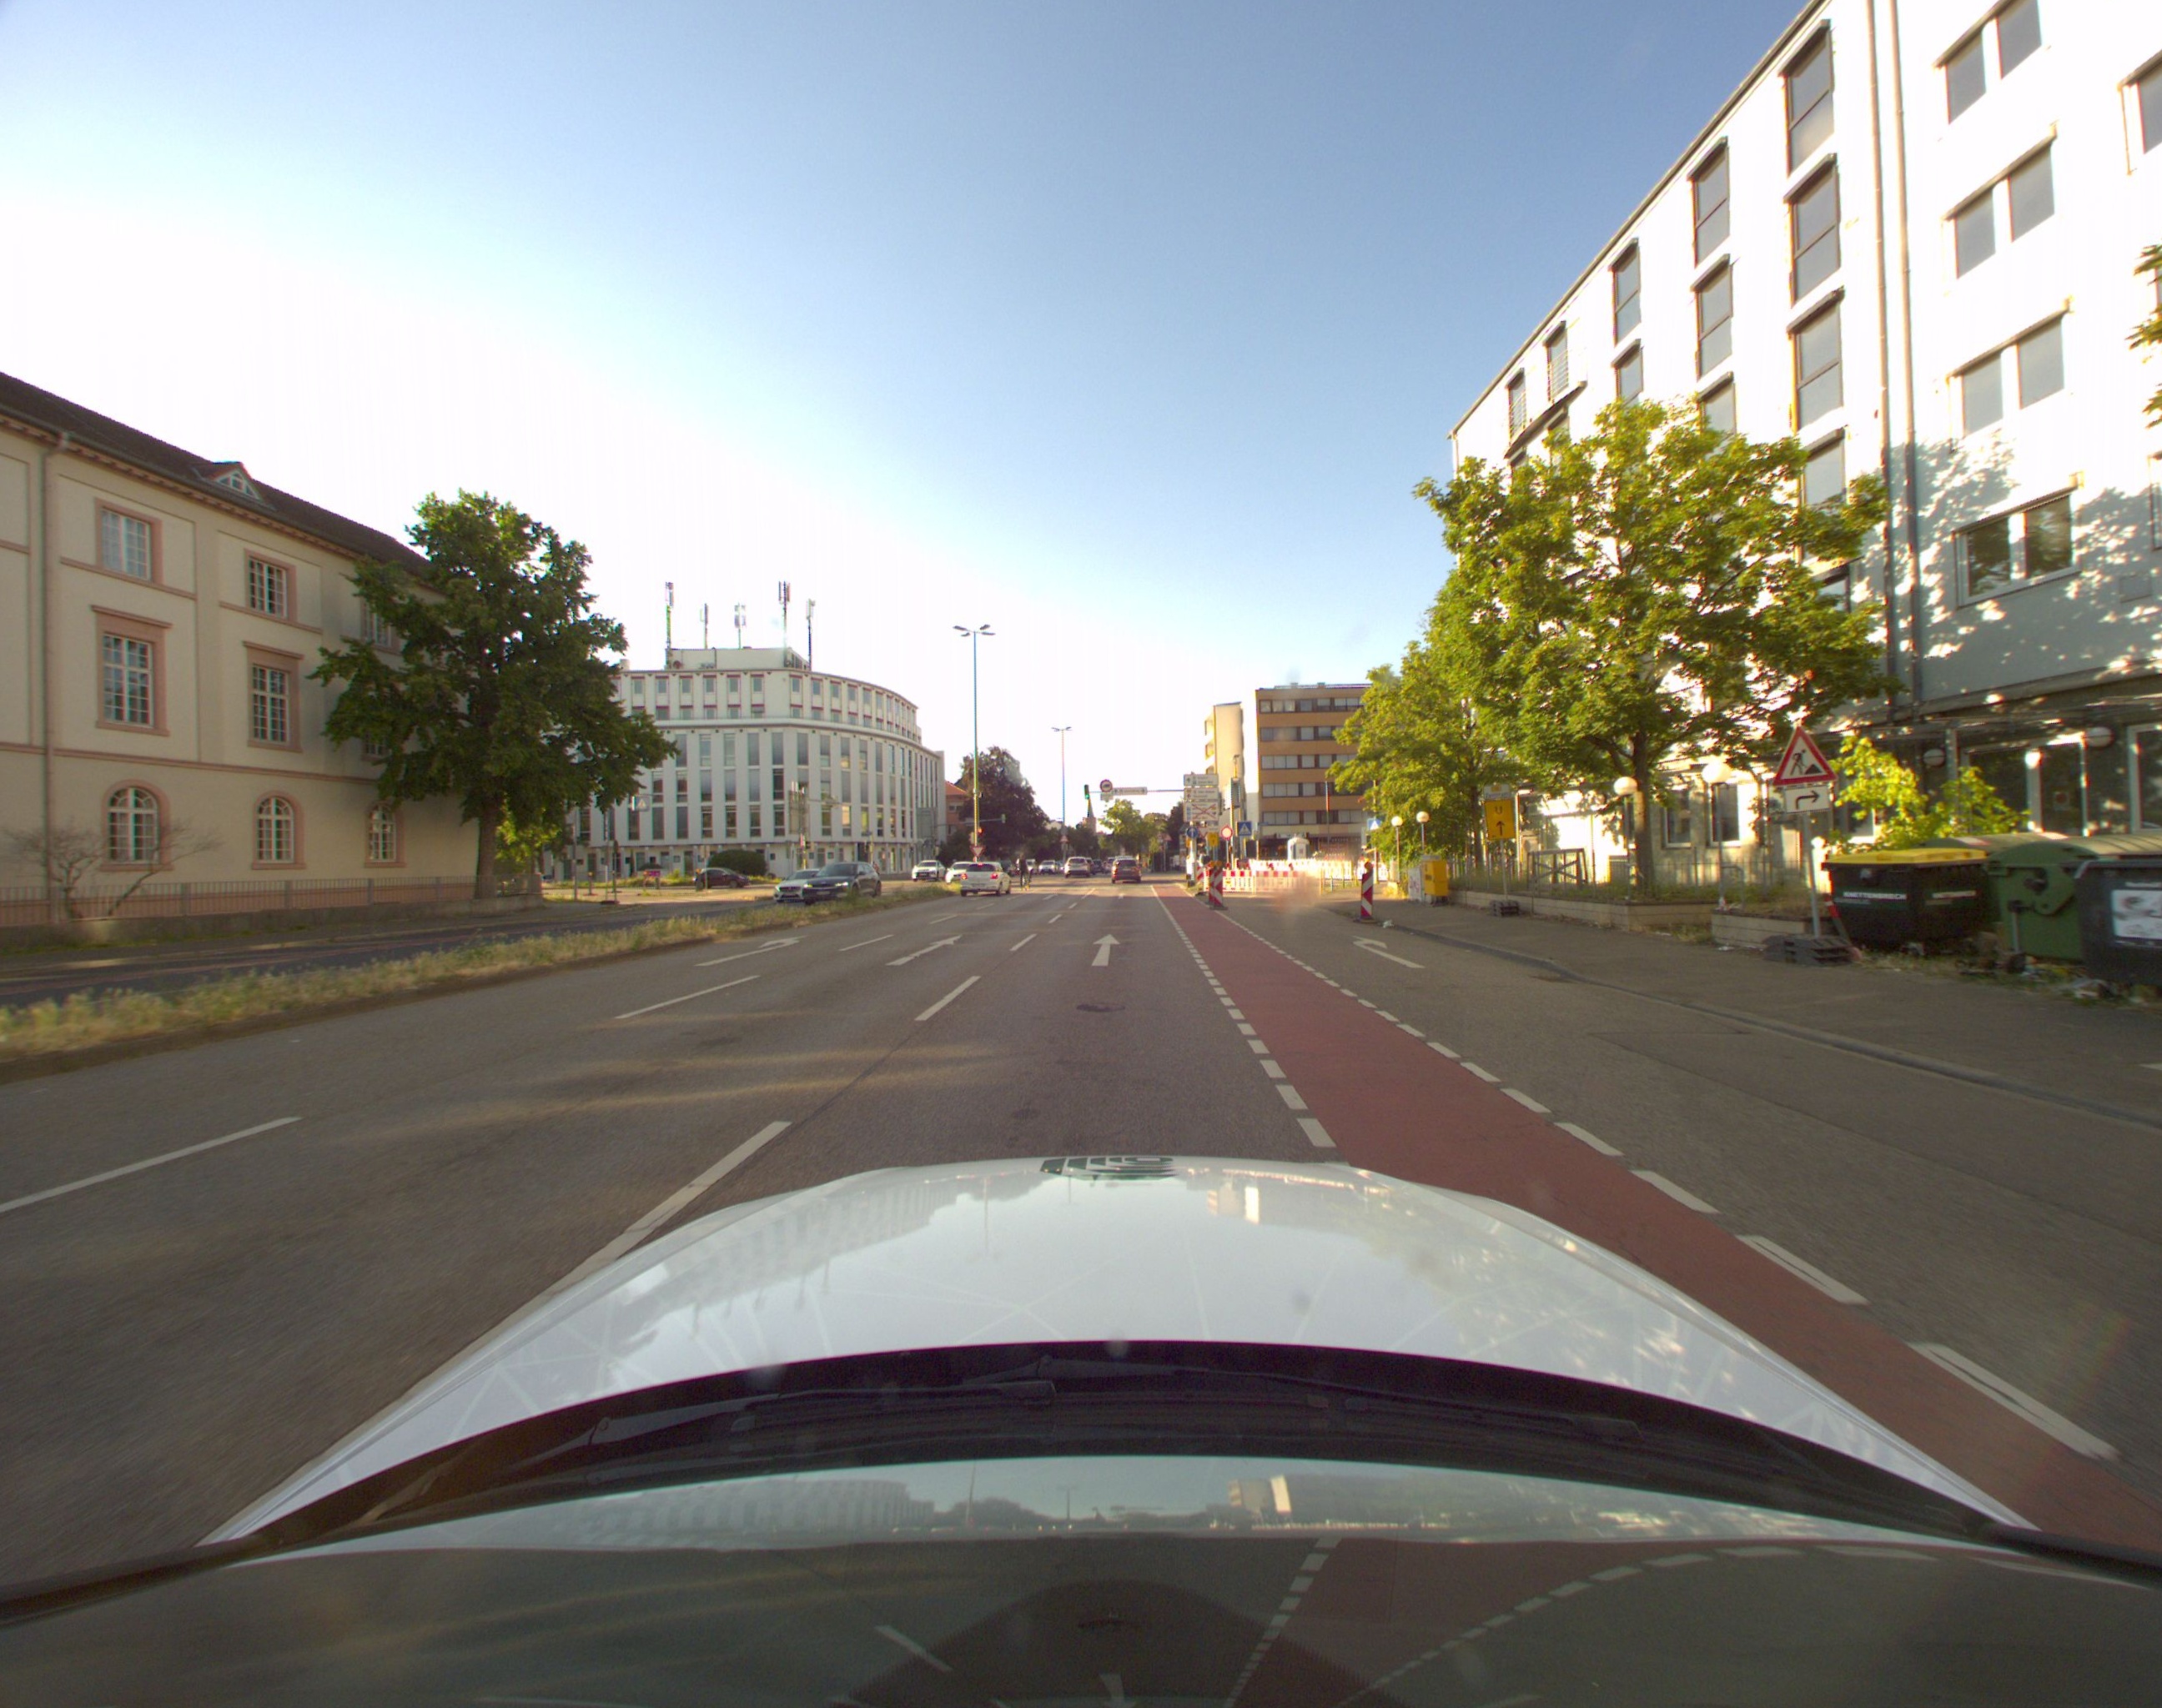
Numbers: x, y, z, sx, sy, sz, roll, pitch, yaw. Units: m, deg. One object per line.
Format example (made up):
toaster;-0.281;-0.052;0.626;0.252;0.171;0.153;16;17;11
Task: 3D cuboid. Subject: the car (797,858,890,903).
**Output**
car;-9.211;0.993;32.089;1.985;1.578;4.902;-1;-1;2

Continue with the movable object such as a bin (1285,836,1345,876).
movable object such as a bin;14.734;0.114;51.379;3.315;2.383;1.530;-2;-1;2

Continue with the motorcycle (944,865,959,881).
motorcycle;-10.968;1.582;68.943;0.767;1.284;2.843;-1;-1;1

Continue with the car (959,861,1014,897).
car;-4.123;1.057;36.194;1.677;1.457;4.004;-1;0;4

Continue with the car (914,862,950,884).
car;-11.081;1.366;60.788;1.678;1.499;4.516;-1;0;2

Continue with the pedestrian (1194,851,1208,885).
pedestrian;6.489;0.773;44.020;0.736;1.799;0.717;-2;-1;9

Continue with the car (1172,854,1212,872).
car;12.718;1.028;93.603;4.347;1.878;2.001;-2;-1;1

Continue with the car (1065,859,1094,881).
car;-0.074;1.139;59.722;1.740;1.564;4.054;-2;-1;4

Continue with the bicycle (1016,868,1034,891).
bicycle;-2.831;1.297;41.313;0.697;1.100;2.258;-2;-1;1

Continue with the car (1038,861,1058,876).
car;-3.461;1.489;86.322;1.841;1.461;4.050;-2;-1;1

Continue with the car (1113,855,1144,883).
car;2.839;0.883;48.522;1.740;1.564;4.054;-2;-1;4

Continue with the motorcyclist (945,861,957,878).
motorcyclist;-10.984;1.271;68.952;0.767;1.419;1.238;-1;-1;1

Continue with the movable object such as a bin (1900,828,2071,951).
movable object such as a bin;11.658;0.442;10.541;1.099;1.485;0.957;-2;-1;2

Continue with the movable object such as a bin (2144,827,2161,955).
movable object such as a bin;13.193;0.412;9.063;1.321;1.485;1.017;-2;-1;2

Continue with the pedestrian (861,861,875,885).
pedestrian;-17.415;1.545;66.613;0.653;1.868;0.783;-2;-1;29

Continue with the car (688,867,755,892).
car;-25.249;1.794;57.239;3.796;1.530;1.862;-3;-3;0

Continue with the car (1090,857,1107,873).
car;1.947;1.195;89.191;1.657;1.657;4.004;-2;-1;4

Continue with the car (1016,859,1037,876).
car;-6.173;1.492;92.635;1.909;1.811;4.717;-2;-1;1

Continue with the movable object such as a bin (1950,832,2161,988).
movable object such as a bin;10.415;0.535;8.536;1.325;1.485;1.208;-1;-1;-7

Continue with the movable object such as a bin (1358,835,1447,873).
movable object such as a bin;22.702;-0.019;57.686;5.331;2.490;2.548;-2;-1;0

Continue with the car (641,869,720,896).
car;-26.865;1.915;54.675;4.321;1.629;2.004;-2;-1;7

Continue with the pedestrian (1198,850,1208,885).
pedestrian;6.701;0.731;44.732;0.517;1.868;0.616;-2;-1;10

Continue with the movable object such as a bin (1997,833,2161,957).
movable object such as a bin;12.845;0.503;10.419;1.121;1.485;0.957;-2;-1;3

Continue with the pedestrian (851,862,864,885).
pedestrian;-18.354;1.587;66.992;0.755;1.842;0.819;-2;-1;5

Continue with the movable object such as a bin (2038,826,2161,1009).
movable object such as a bin;9.484;0.523;6.933;1.088;1.508;1.255;-1;-3;3

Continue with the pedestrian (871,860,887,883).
pedestrian;-16.467;1.425;66.374;0.621;1.868;1.134;-2;-1;25

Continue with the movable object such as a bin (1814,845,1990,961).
movable object such as a bin;10.313;0.590;10.273;1.214;1.344;1.051;-1;-1;-12

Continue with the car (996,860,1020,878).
car;-6.534;1.338;73.509;1.652;1.494;4.002;-1;-1;2

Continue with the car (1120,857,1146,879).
car;4.004;1.080;63.215;1.812;1.640;4.002;-2;-1;2

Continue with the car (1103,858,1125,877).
car;3.061;1.281;75.506;1.986;1.508;4.001;-3;-3;2

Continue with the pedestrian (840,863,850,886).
pedestrian;-19.313;1.673;66.561;0.660;1.859;0.776;-1;-1;-8

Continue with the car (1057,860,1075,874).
car;-1.715;1.458;92.161;1.841;1.461;4.050;-2;-1;1

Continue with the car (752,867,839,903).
car;-12.571;1.325;36.213;1.984;1.413;4.448;-2;-1;4

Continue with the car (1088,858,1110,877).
car;1.593;1.143;70.869;1.740;1.564;4.054;-2;-1;4

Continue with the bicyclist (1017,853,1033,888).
bicyclist;-2.844;0.812;41.272;0.688;1.728;0.988;-2;-1;0

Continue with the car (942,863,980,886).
car;-7.820;1.304;53.376;1.678;1.392;4.184;-1;0;3
